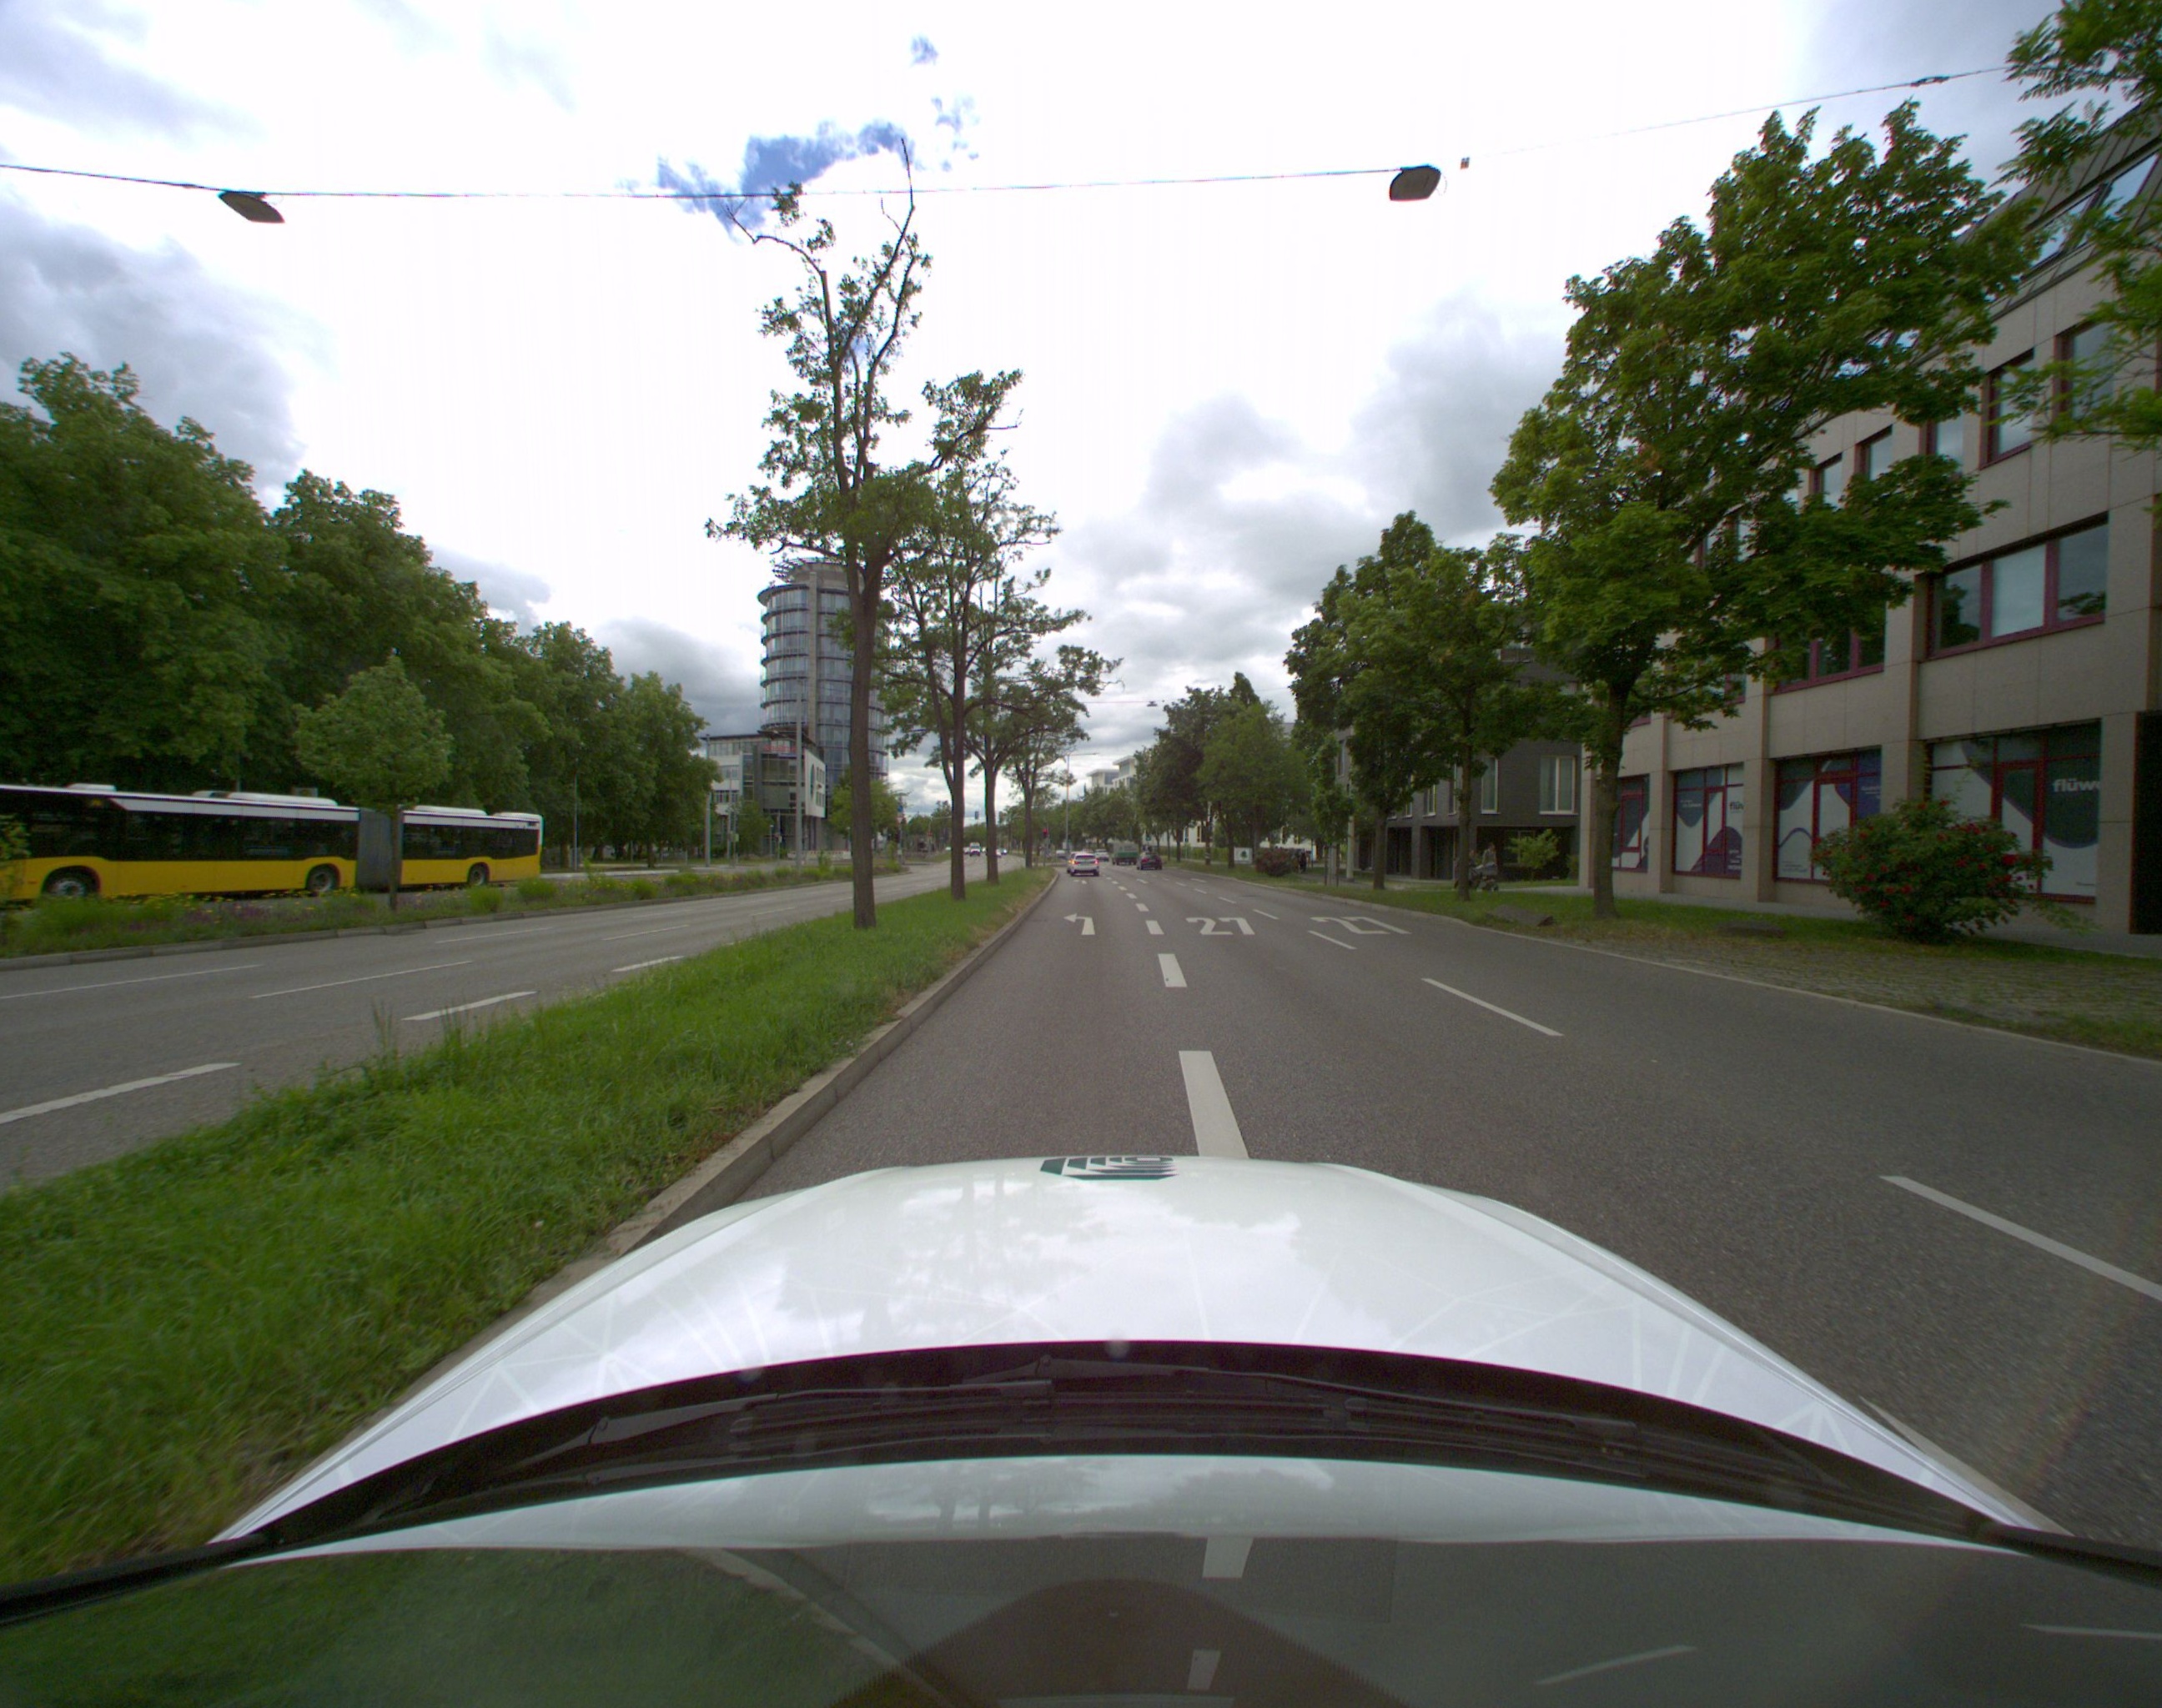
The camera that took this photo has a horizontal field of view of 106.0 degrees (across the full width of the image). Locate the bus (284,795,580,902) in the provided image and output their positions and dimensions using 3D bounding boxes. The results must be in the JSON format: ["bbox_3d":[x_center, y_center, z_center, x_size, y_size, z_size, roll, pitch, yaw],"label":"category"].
[{"bbox_3d":[-24.477,-0.180,31.811,3.018,3.455,9.921,2,0,4],"label":"bus"}]

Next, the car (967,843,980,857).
[{"bbox_3d":[-21.181,-0.768,160.164,1.989,2.634,5.867,2,0,-4],"label":"car"}]

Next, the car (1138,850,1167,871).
[{"bbox_3d":[5.752,0.500,65.897,1.987,1.596,4.000,0,0,0],"label":"car"}]

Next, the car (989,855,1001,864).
[{"bbox_3d":[-14.797,0.950,140.048,1.749,1.444,4.129,2,0,-4],"label":"car"}]

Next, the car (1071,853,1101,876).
[{"bbox_3d":[0.339,0.650,52.877,1.856,1.449,4.001,0,0,1],"label":"car"}]

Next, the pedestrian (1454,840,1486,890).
[{"bbox_3d":[13.231,0.361,27.702,0.554,1.653,0.960,-1,0,-4],"label":"pedestrian"}]

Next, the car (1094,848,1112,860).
[{"bbox_3d":[2.800,-0.007,104.500,1.989,1.508,3.995,0,0,-3],"label":"car"}]

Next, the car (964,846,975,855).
[{"bbox_3d":[-25.113,-0.790,183.204,1.989,2.011,4.318,2,0,-4],"label":"car"}]

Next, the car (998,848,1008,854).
[{"bbox_3d":[-16.566,-0.604,173.783,1.749,1.371,3.778,-1,0,-1],"label":"car"}]

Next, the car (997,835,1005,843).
[{"bbox_3d":[-21.434,-3.982,218.298,1.989,2.011,4.318,2,0,-4],"label":"car"}]

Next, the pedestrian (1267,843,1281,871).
[{"bbox_3d":[12.426,0.188,52.445,0.606,1.775,0.953,0,2,-1],"label":"pedestrian"}]

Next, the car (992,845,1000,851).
[{"bbox_3d":[-24.655,-1.742,236.105,1.988,1.618,3.998,2,0,-1],"label":"car"}]

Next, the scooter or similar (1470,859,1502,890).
[{"bbox_3d":[13.314,0.665,26.791,0.582,0.994,0.845,-1,0,-4],"label":"scooter or similar"}]

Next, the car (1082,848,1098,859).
[{"bbox_3d":[1.250,-0.061,117.259,1.989,1.508,3.995,0,0,-4],"label":"car"}]

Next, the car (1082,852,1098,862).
[{"bbox_3d":[1.295,0.401,120.498,1.989,1.490,3.995,1,0,-4],"label":"car"}]

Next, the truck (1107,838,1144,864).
[{"bbox_3d":[4.539,-0.277,84.286,2.855,2.519,6.275,0,0,-5],"label":"truck"}]

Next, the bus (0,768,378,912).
[{"bbox_3d":[-25.041,-0.352,21.548,3.071,3.162,10.745,1,0,3],"label":"bus"}]

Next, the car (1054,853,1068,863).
[{"bbox_3d":[-3.154,0.536,125.346,1.989,1.490,3.995,1,0,-4],"label":"car"}]

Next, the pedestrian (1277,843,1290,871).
[{"bbox_3d":[13.070,0.178,52.499,0.606,1.775,0.953,0,2,-1],"label":"pedestrian"}]

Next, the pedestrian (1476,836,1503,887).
[{"bbox_3d":[13.941,0.246,27.798,0.565,1.700,0.830,0,-1,4],"label":"pedestrian"}]

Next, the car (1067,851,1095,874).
[{"bbox_3d":[-0.027,0.614,59.861,1.987,1.672,3.999,0,0,0],"label":"car"}]

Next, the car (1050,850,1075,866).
[{"bbox_3d":[-1.782,0.429,79.819,1.984,1.508,4.005,0,0,5],"label":"car"}]

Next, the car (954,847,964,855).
[{"bbox_3d":[-29.788,-0.819,198.937,1.989,1.852,4.318,2,0,-4],"label":"car"}]
